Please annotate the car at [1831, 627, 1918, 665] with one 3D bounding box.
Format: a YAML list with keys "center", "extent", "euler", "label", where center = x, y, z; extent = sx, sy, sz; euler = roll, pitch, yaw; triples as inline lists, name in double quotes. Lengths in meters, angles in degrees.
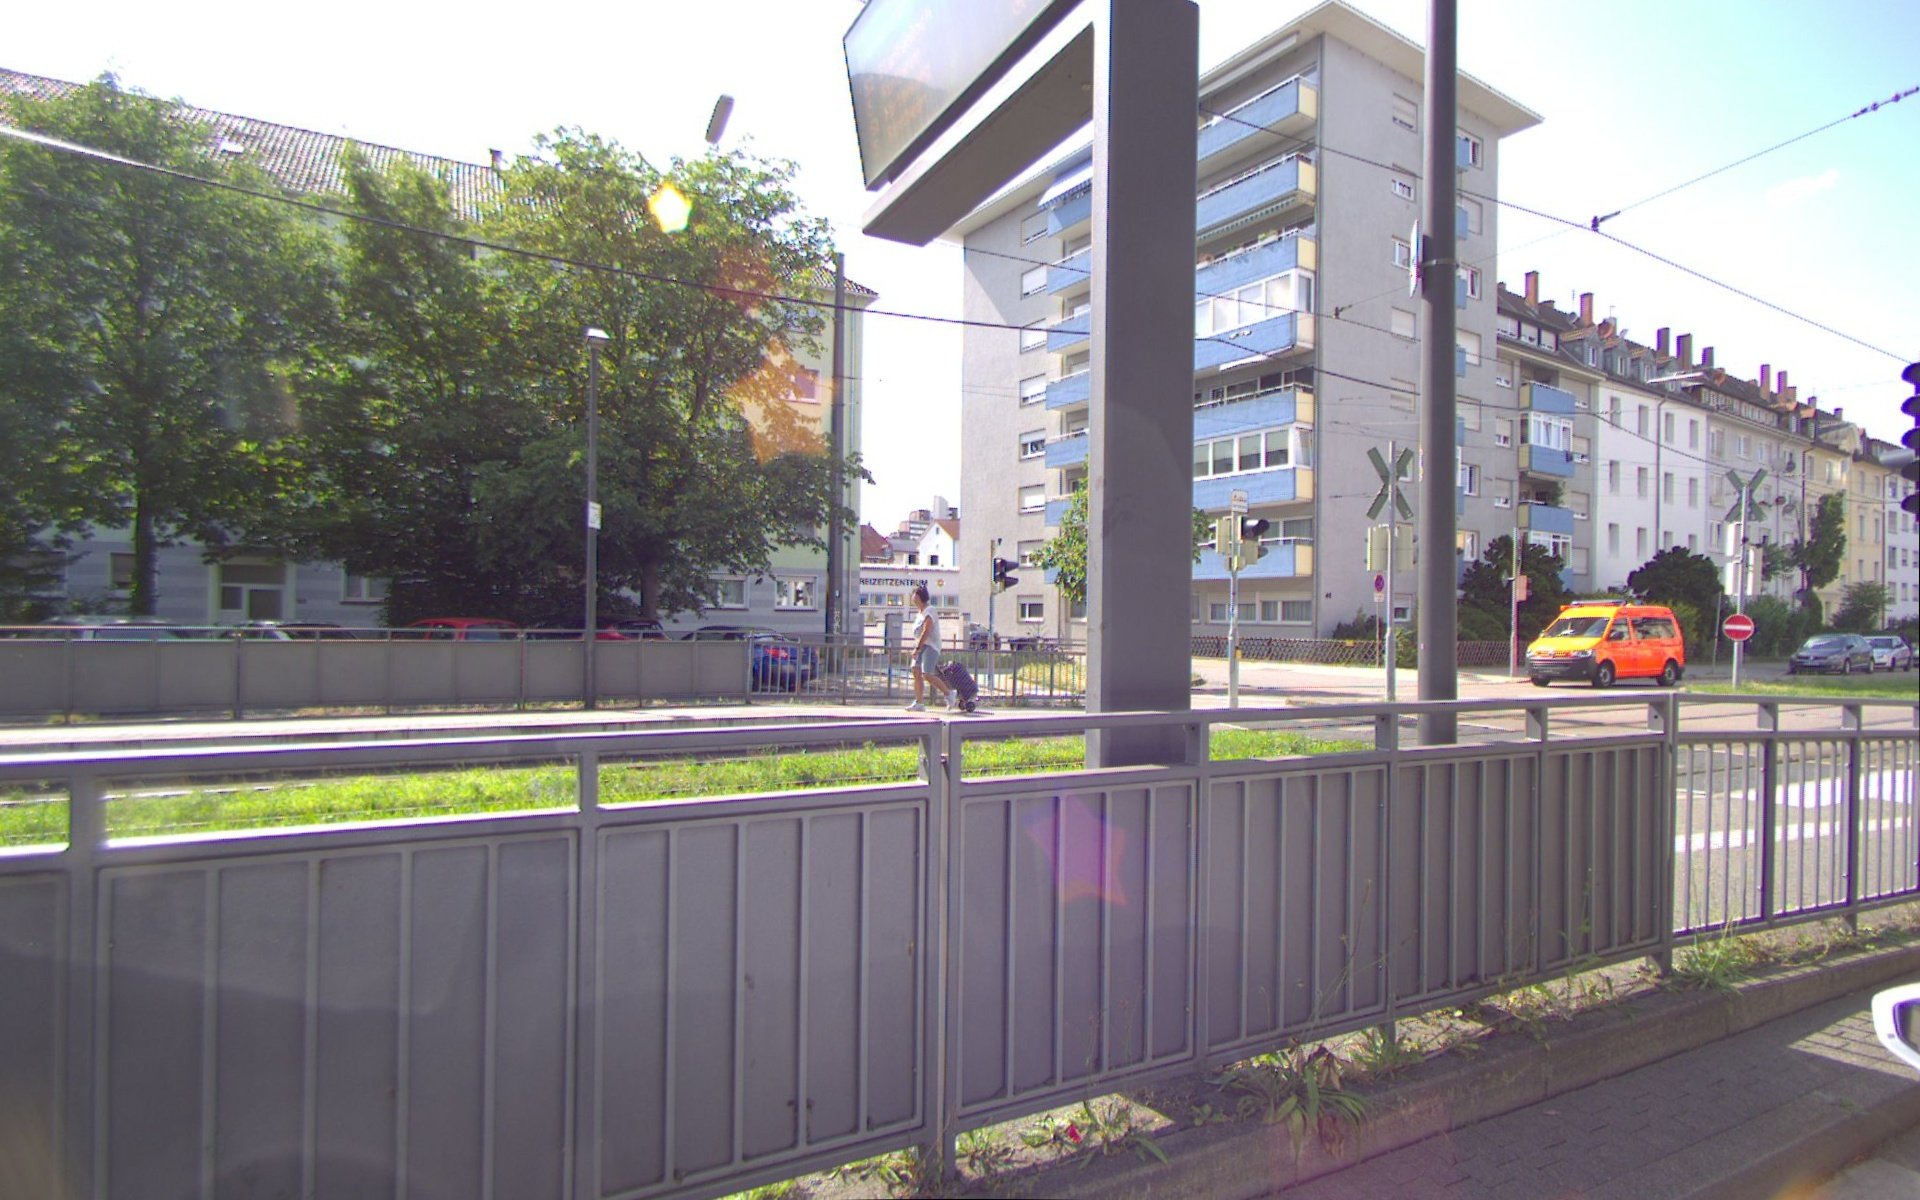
- center: [39.242, 1.977, 43.079]
  extent: [3.956, 1.461, 1.758]
  euler: [2, 0, -32]
  label: "car"

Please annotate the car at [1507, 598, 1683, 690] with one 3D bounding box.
- center: [17.224, 1.168, 27.211]
  extent: [4.774, 2.305, 1.985]
  euler: [1, -1, -29]
  label: "car"

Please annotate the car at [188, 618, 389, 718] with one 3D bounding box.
- center: [-12.061, 1.131, 17.999]
  extent: [3.603, 1.600, 1.645]
  euler: [0, -1, 32]
  label: "car"

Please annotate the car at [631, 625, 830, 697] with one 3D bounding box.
- center: [-4.988, 1.270, 21.807]
  extent: [4.055, 1.413, 1.608]
  euler: [0, -1, 24]
  label: "car"

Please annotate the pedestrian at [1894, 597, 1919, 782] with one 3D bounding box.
- center: [9.052, 0.827, 9.052]
  extent: [0.629, 1.670, 0.702]
  euler: [2, 1, -28]
  label: "pedestrian"

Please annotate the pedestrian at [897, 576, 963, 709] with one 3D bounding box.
- center: [-0.398, 0.549, 13.130]
  extent: [0.624, 1.686, 0.657]
  euler: [1, -1, -29]
  label: "pedestrian"

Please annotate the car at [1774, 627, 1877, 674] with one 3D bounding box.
- center: [34.276, 1.979, 39.778]
  extent: [3.956, 1.667, 1.982]
  euler: [2, 0, -32]
  label: "car"

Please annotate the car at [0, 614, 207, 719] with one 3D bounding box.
- center: [-14.208, 1.014, 16.555]
  extent: [3.959, 1.534, 1.605]
  euler: [0, -1, 33]
  label: "car"

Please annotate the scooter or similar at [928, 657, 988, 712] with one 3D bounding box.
- center: [-0.023, 1.146, 13.687]
  extent: [0.692, 0.708, 0.440]
  euler: [1, -1, -29]
  label: "scooter or similar"

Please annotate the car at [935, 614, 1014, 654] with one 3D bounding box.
- center: [0.651, 1.590, 47.543]
  extent: [1.976, 1.706, 3.968]
  euler: [2, 0, -30]
  label: "car"

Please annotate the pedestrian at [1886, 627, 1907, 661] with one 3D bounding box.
- center: [49.976, 2.342, 53.610]
  extent: [0.857, 1.817, 0.700]
  euler: [1, -1, -36]
  label: "pedestrian"

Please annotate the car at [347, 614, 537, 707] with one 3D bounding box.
- center: [-9.985, 1.092, 19.322]
  extent: [3.603, 1.600, 1.645]
  euler: [0, -1, 32]
  label: "car"

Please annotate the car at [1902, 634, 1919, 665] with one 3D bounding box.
- center: [47.415, 2.432, 48.628]
  extent: [3.958, 1.461, 1.757]
  euler: [2, 0, -34]
  label: "car"
